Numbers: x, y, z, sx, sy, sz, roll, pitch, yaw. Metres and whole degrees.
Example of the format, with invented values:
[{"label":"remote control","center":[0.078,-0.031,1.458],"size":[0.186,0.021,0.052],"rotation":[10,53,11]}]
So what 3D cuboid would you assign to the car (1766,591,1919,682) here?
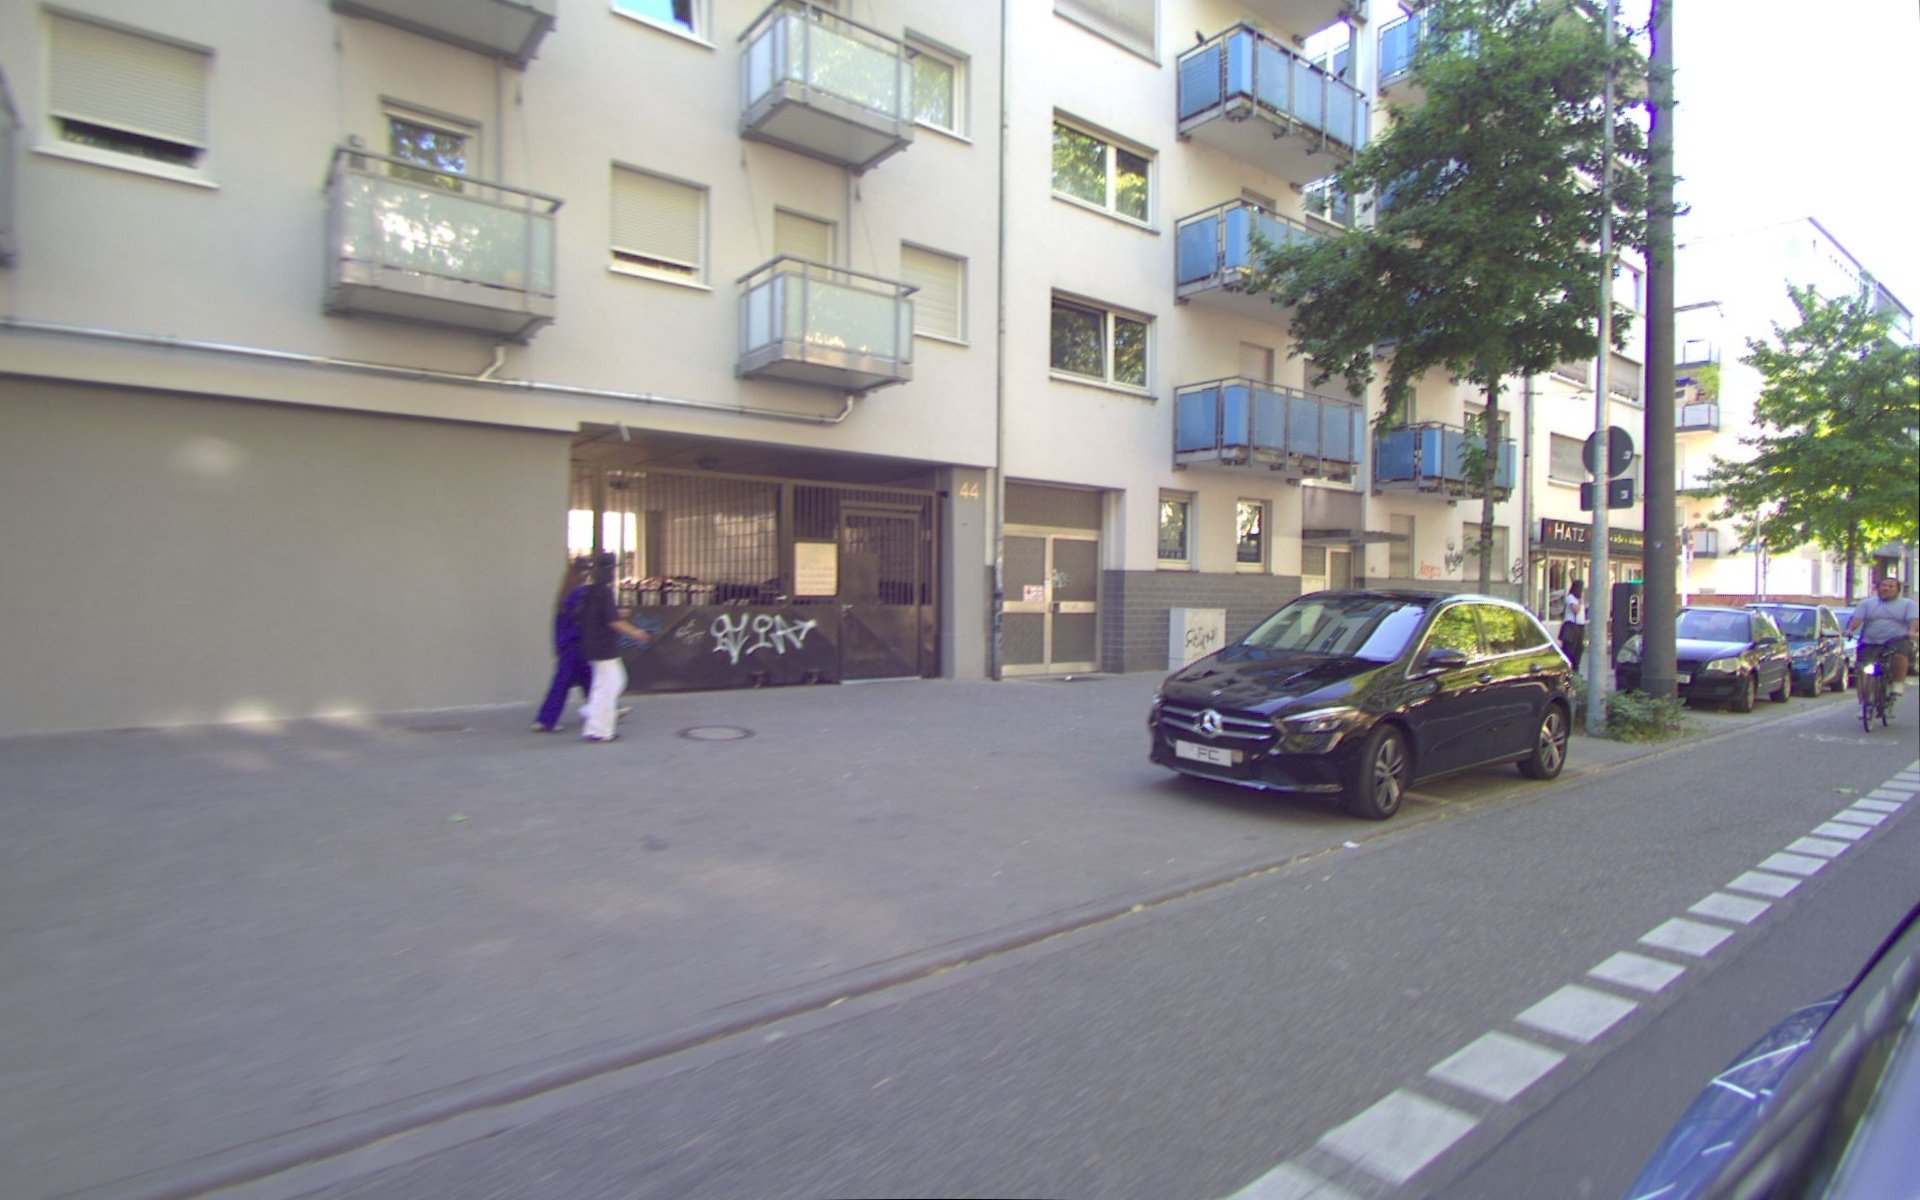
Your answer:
[{"label":"car","center":[17.715,0.661,20.106],"size":[4.053,1.556,1.791],"rotation":[0,3,-39]}]

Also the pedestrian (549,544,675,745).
[{"label":"pedestrian","center":[-3.059,0.358,8.895],"size":[0.854,1.658,0.643],"rotation":[0,2,-40]}]

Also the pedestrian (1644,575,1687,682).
[{"label":"pedestrian","center":[12.622,0.491,18.099],"size":[0.652,1.875,0.476],"rotation":[0,-1,-41]}]

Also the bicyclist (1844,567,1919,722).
[{"label":"bicyclist","center":[11.739,0.534,12.695],"size":[1.079,1.854,0.769],"rotation":[0,-1,-38]}]

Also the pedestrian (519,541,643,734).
[{"label":"pedestrian","center":[-3.523,0.312,9.407],"size":[0.918,1.698,0.597],"rotation":[0,2,-41]}]

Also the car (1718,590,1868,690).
[{"label":"car","center":[14.609,0.636,17.712],"size":[2.829,1.556,1.448],"rotation":[0,2,-39]}]

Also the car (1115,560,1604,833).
[{"label":"car","center":[3.386,0.553,8.201],"size":[4.251,1.607,1.764],"rotation":[0,4,-39]}]

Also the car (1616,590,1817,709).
[{"label":"car","center":[11.501,0.654,15.304],"size":[3.822,1.500,1.626],"rotation":[0,3,-41]}]

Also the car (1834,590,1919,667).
[{"label":"car","center":[22.143,0.609,23.910],"size":[4.187,1.590,1.723],"rotation":[-1,3,-42]}]

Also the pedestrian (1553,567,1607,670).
[{"label":"pedestrian","center":[11.481,0.339,18.761],"size":[0.650,1.875,0.540],"rotation":[0,0,-10]}]

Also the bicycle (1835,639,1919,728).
[{"label":"bicycle","center":[11.705,1.004,12.664],"size":[1.904,0.949,0.790],"rotation":[-1,0,-38]}]
